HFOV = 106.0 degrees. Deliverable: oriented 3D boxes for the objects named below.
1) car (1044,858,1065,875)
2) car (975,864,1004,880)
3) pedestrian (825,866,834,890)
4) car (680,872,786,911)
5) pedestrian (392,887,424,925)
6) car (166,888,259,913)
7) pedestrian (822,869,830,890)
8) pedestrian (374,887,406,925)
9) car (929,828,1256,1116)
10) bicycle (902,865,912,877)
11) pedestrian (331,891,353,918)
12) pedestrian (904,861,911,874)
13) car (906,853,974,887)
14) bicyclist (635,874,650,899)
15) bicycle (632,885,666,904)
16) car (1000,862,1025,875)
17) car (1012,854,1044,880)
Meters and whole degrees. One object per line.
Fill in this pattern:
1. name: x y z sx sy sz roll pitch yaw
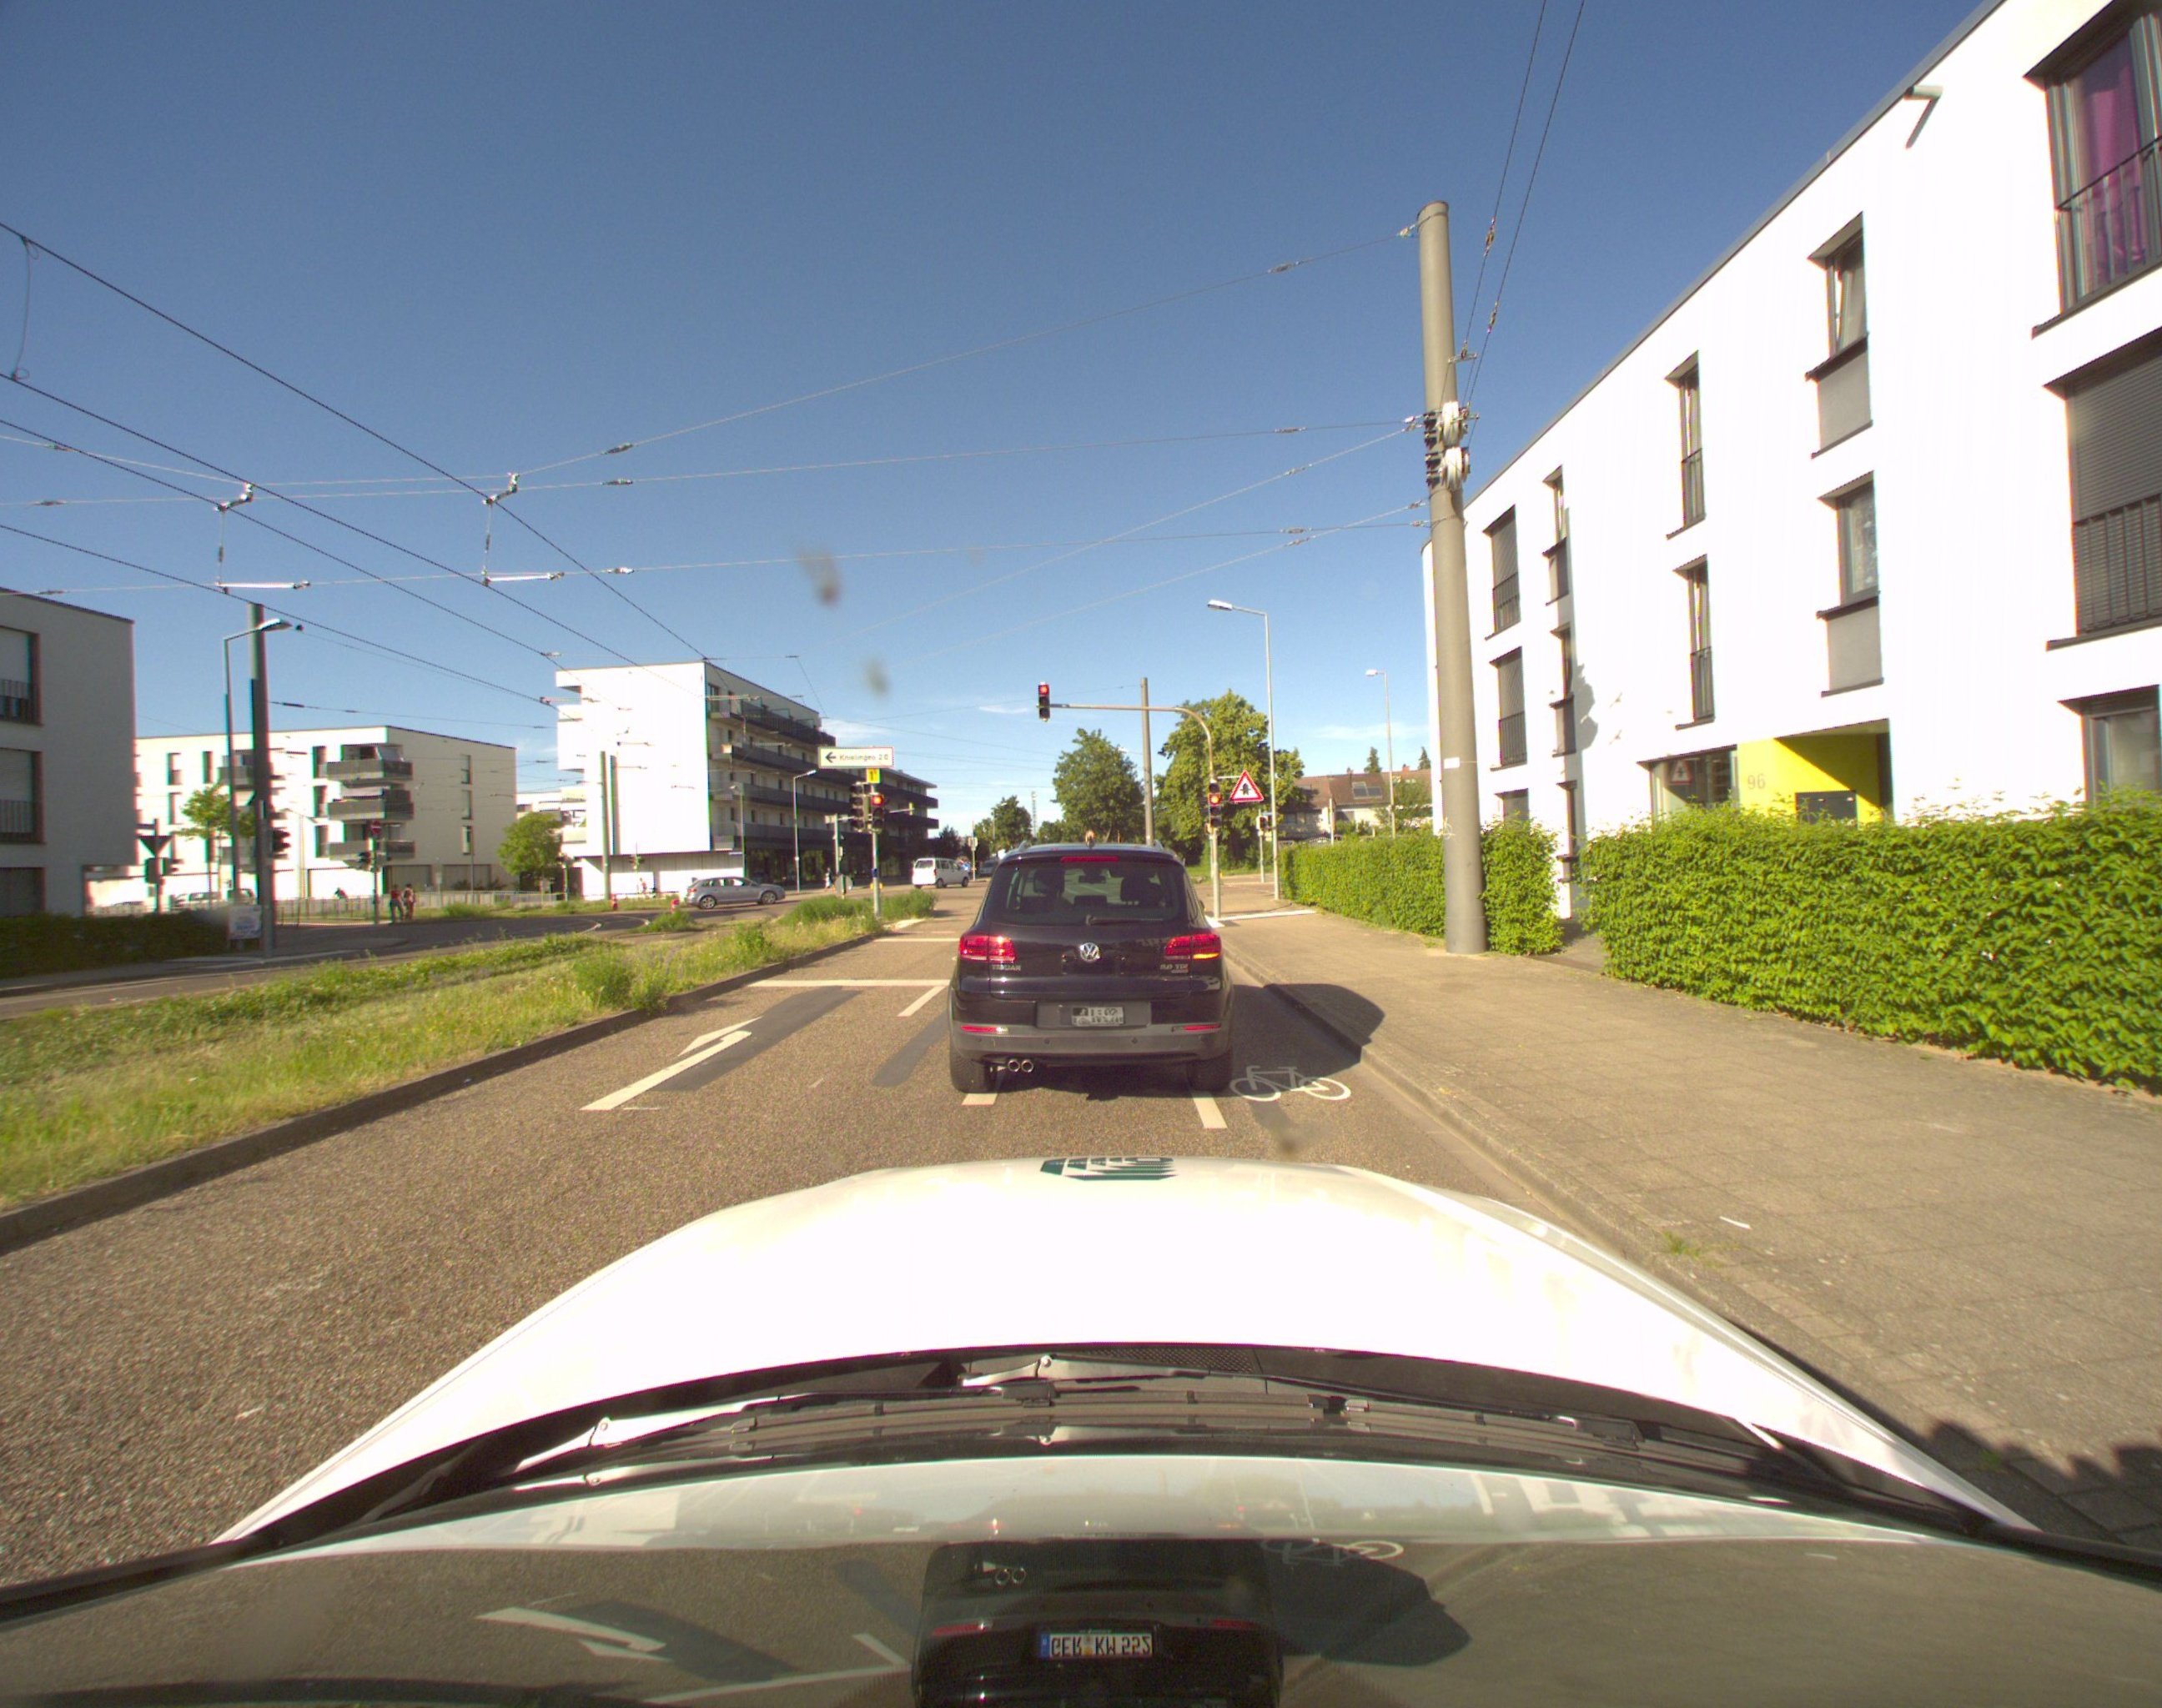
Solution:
1. car: -2.700 1.276 84.688 1.987 1.684 4.000 0 -1 0
2. car: -9.718 1.894 86.844 1.981 1.574 4.350 -1 -1 9
3. pedestrian: -18.332 1.750 59.383 0.542 1.744 0.517 0 -1 -4
4. car: -15.761 1.654 36.894 4.125 1.485 1.850 -2 -1 -33
5. pedestrian: -29.402 2.275 35.591 0.769 1.605 0.742 0 -1 -4
6. car: -58.857 3.154 55.219 4.305 1.574 2.002 0 -1 4
7. pedestrian: -18.433 1.862 58.830 0.440 1.503 0.517 0 -1 -4
8. pedestrian: -30.201 2.281 35.600 0.769 1.605 0.742 0 -1 -4
9. car: 0.127 0.691 6.661 1.862 1.637 4.001 0 -1 2
10. bicycle: -20.097 1.935 94.269 0.627 1.332 1.914 0 -1 3
11. pedestrian: -47.502 3.253 52.370 0.810 1.692 0.621 -3 -1 2
12. pedestrian: -20.066 1.578 94.233 0.640 1.509 0.596 0 -1 2
13. car: -7.719 0.879 44.921 1.846 1.720 3.708 -2 0 26
14. bicyclist: -28.823 2.130 53.507 0.775 1.614 0.644 -1 -1 44
15. bicycle: -28.545 2.663 53.813 0.812 1.124 1.872 -1 -1 45
16. car: -8.219 1.728 97.888 1.981 1.574 4.350 -1 -1 9
17. car: -3.795 0.934 59.092 1.987 1.836 4.000 0 -1 0
